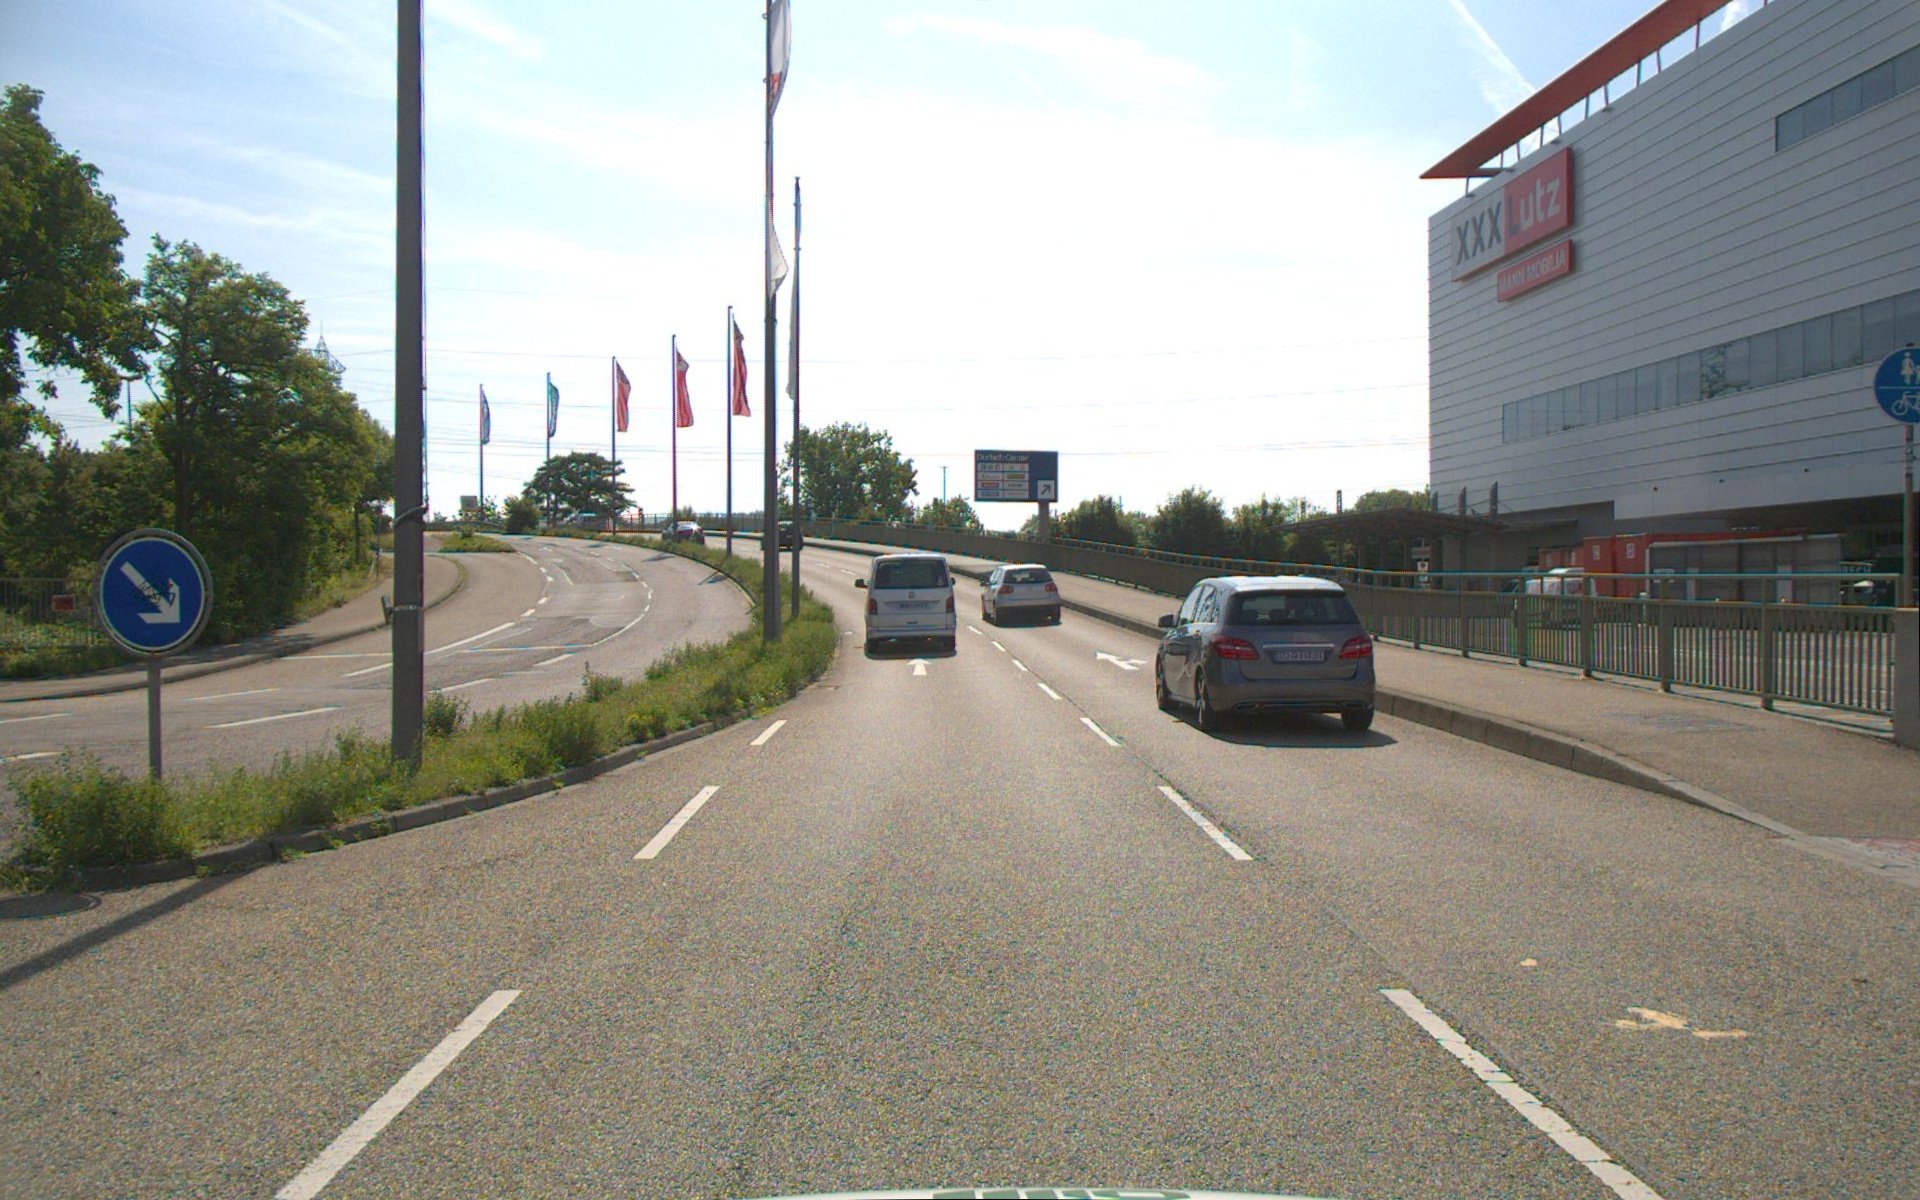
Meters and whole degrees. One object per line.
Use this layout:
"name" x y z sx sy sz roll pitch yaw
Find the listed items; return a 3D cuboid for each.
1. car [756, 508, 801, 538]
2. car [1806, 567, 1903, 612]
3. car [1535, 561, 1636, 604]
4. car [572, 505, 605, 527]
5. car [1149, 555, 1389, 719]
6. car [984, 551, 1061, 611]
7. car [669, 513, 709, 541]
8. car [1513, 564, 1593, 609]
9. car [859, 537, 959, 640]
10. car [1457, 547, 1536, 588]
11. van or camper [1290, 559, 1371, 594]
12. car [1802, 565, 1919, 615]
"car" -9.993 -4.243 90.941 1.510 1.505 3.572 1 3 -23
"car" 30.796 -0.391 57.032 1.480 1.494 3.253 0 1 -2
"car" 29.507 -0.823 78.137 4.104 1.962 1.775 0 1 -3
"car" -28.914 -6.501 128.670 1.515 1.506 3.389 1 0 -31
"car" 3.214 0.325 17.984 1.738 1.566 4.137 0 1 -1
"car" 1.610 -0.537 43.489 1.634 1.438 3.680 -2 2 -4
"car" -16.076 -4.311 97.922 1.511 1.505 3.221 1 0 -25
"car" 24.172 -0.565 67.559 1.639 1.782 4.092 0 1 -2
"car" -1.009 -0.304 34.912 1.877 2.009 4.298 -1 2 1
"car" 31.032 -1.864 95.681 3.998 2.313 1.677 0 1 -3
"van or camper" 26.485 -1.641 118.285 5.340 2.217 2.093 2 -1 -20
"car" 28.856 -0.332 52.892 1.639 1.536 4.092 0 1 -2
